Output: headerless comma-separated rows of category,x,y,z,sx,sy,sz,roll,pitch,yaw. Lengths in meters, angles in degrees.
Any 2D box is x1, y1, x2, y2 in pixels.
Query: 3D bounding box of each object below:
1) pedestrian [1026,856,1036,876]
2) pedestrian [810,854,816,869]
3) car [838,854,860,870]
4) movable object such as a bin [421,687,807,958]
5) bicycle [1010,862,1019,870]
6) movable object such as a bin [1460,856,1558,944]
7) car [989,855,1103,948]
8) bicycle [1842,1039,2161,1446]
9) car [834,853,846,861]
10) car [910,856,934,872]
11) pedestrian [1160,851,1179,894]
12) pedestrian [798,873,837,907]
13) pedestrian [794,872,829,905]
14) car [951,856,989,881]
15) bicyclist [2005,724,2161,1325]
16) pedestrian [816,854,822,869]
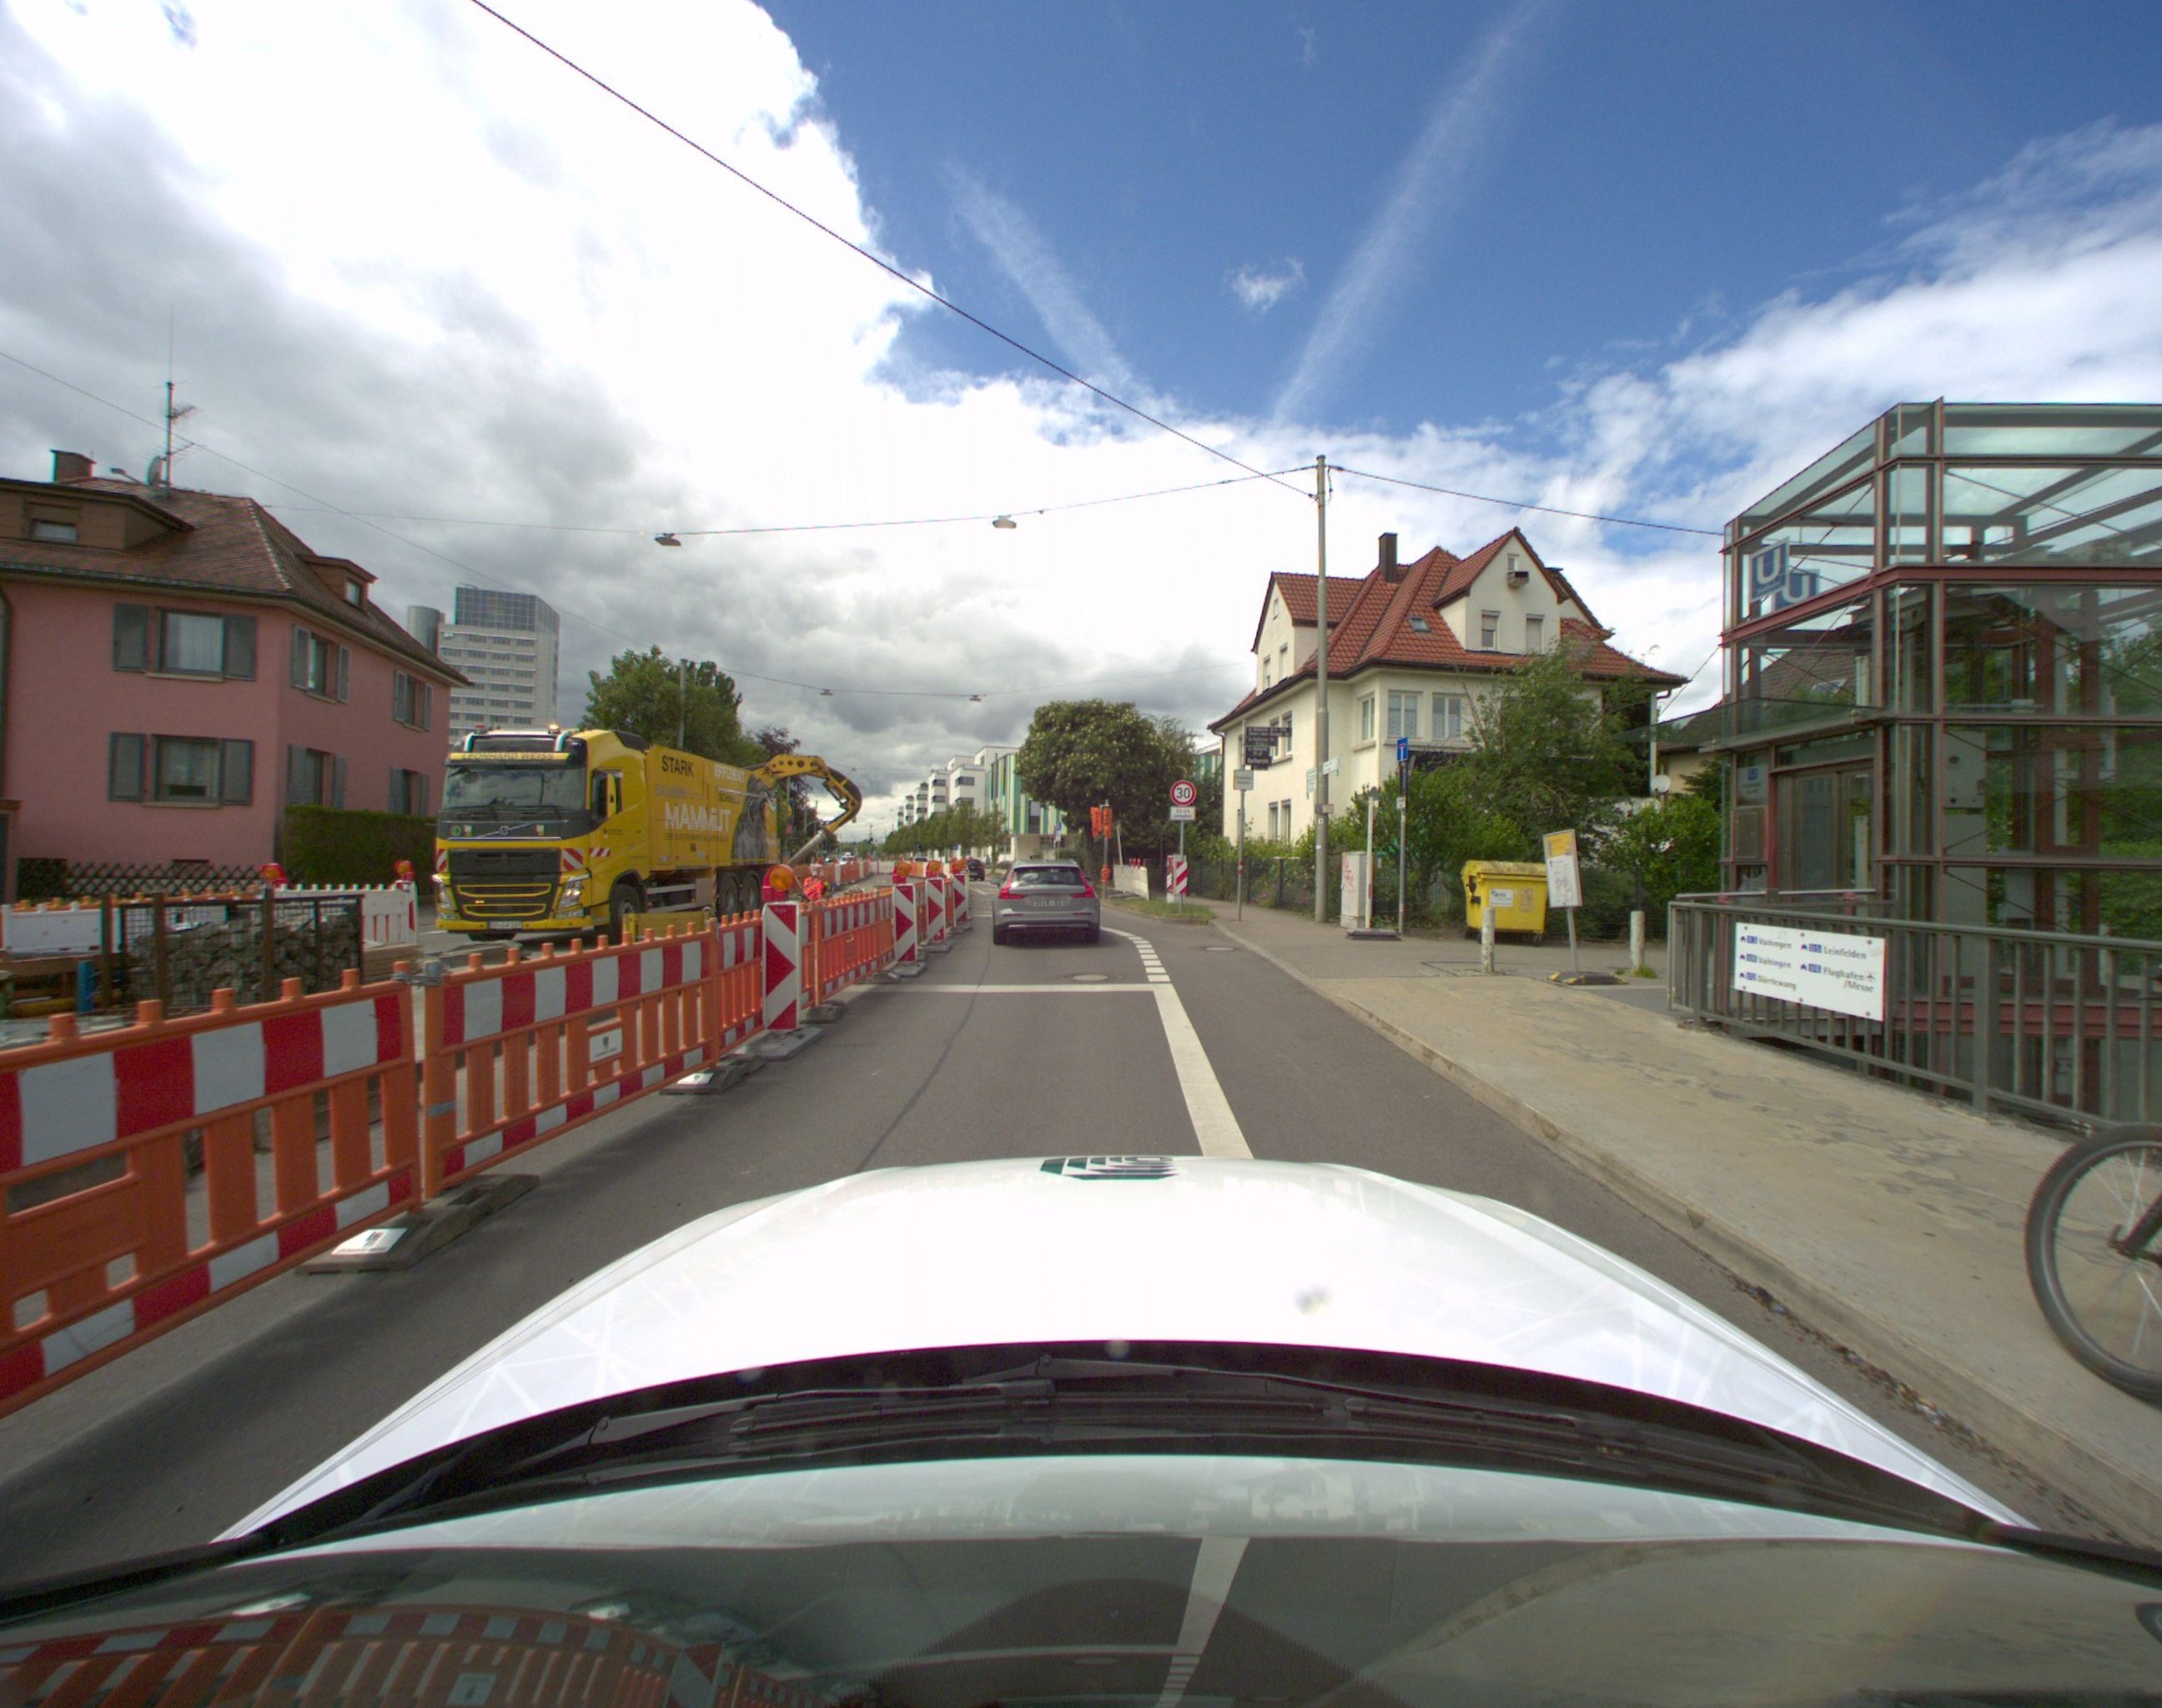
pedestrian,-3.898,0.966,63.785,0.582,1.551,0.864,0,-1,-17
pedestrian,-33.510,0.909,101.820,0.683,1.854,0.703,1,-1,-17
car,-21.959,0.783,77.257,1.857,1.453,3.980,2,-1,-14
movable object such as a bin,-9.169,-0.477,18.315,2.584,4.221,11.112,0,0,-2
bicycle,-7.181,1.275,87.862,0.303,0.842,1.031,0,0,41
movable object such as a bin,7.532,0.784,14.394,1.260,1.470,1.007,1,0,9
car,-0.665,0.780,15.290,1.850,1.513,3.995,0,0,-3
bicycle,2.832,1.011,1.693,0.633,0.753,2.063,1,0,2
car,-46.507,0.645,157.295,1.856,1.513,3.983,0,0,-12
car,-15.391,0.947,78.645,1.849,1.513,3.977,2,-1,-17
pedestrian,3.174,0.660,29.220,0.520,1.540,0.634,0,0,-8
pedestrian,-7.835,1.067,24.255,0.785,0.991,0.814,0,0,12
pedestrian,-8.314,1.057,25.143,0.635,0.991,0.797,0,0,22
car,-7.405,0.947,53.937,1.859,1.513,3.977,2,-1,-17
bicyclist,2.873,0.407,1.656,0.653,1.415,1.179,1,0,2
pedestrian,-32.788,0.919,102.073,0.683,1.854,0.887,1,-1,-16
